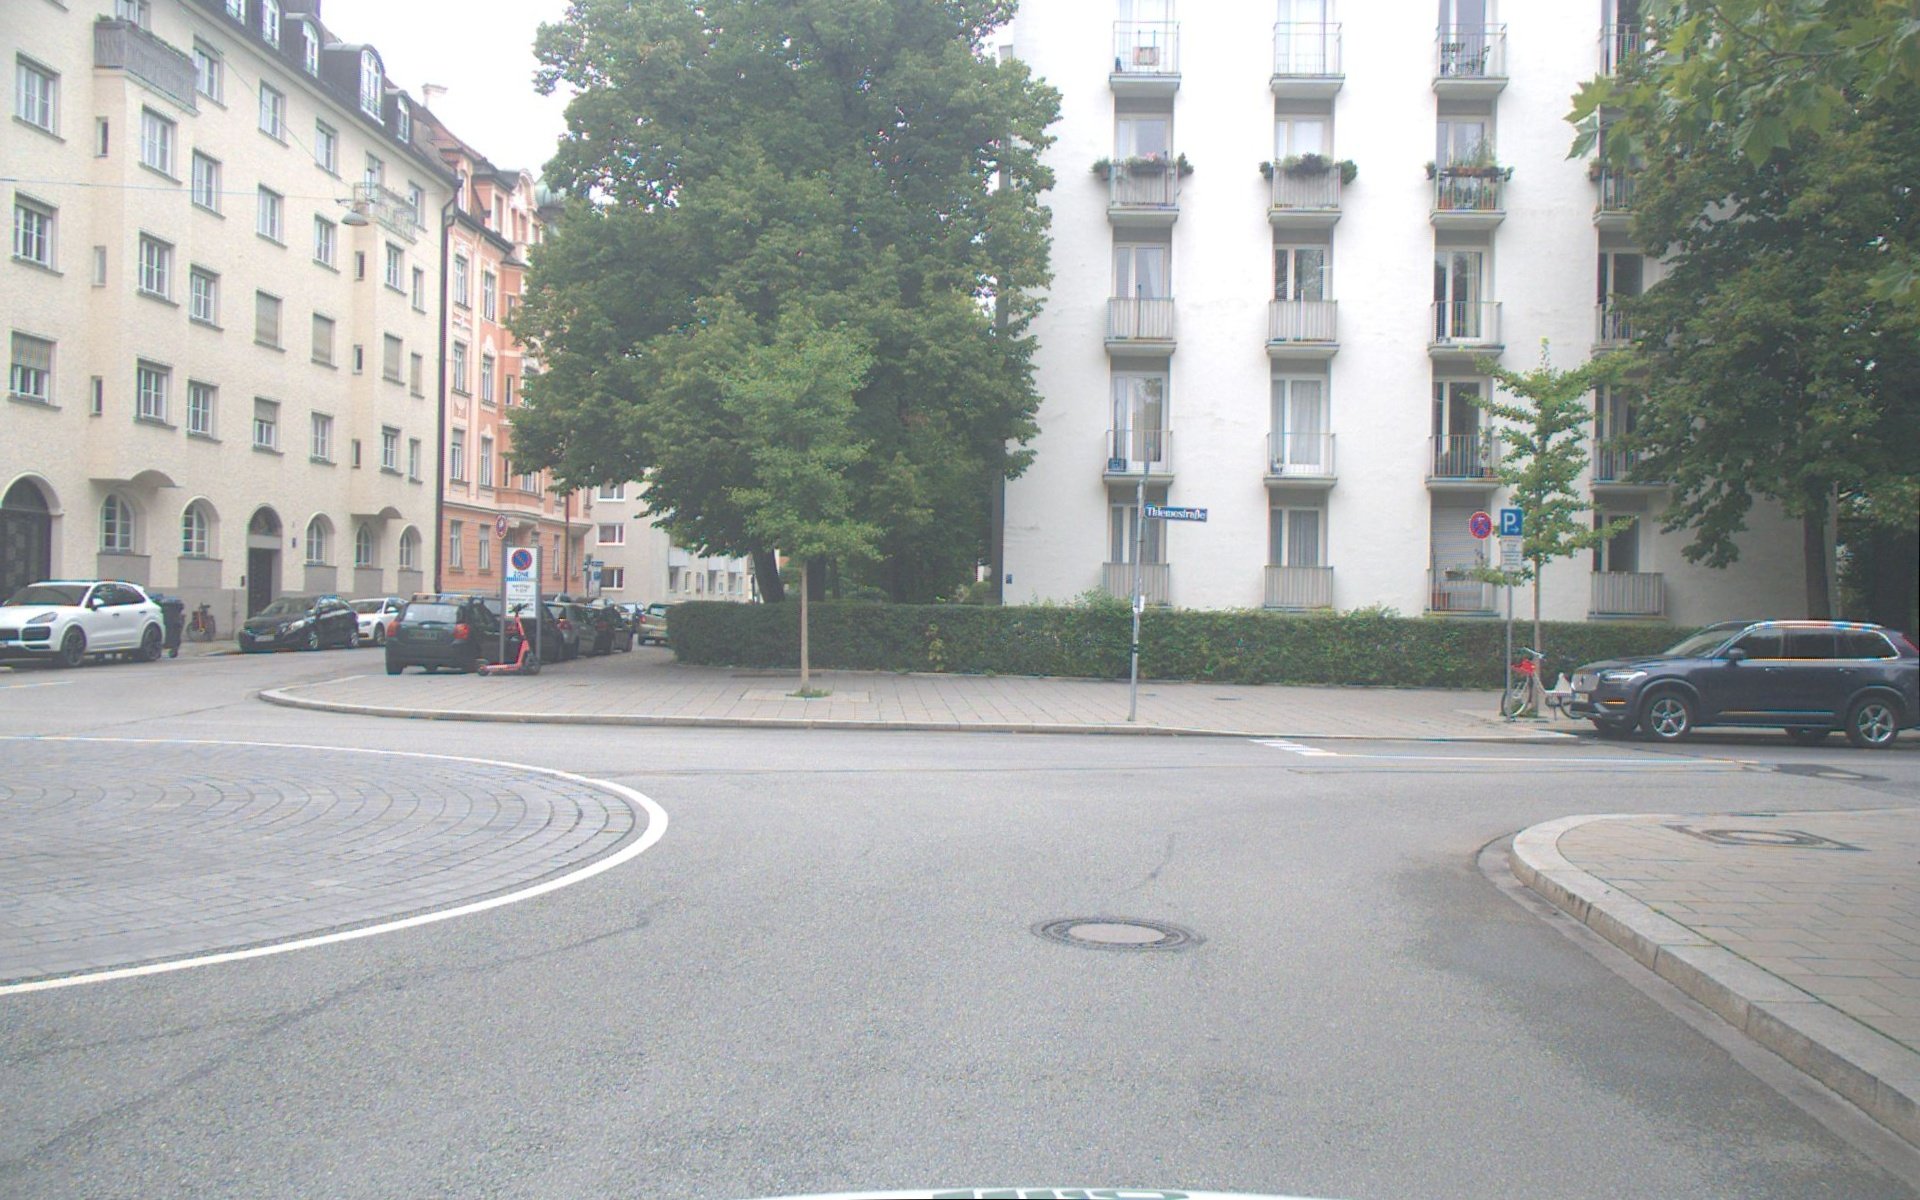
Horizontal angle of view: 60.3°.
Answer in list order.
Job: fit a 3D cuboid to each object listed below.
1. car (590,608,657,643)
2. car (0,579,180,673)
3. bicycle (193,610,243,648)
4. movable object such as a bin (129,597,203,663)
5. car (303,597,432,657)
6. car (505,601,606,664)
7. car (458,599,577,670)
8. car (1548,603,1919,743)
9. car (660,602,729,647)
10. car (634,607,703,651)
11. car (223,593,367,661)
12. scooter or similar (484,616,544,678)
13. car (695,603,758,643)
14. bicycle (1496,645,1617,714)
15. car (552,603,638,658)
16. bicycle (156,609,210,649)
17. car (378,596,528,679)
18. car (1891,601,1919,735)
[{"bbox_3d":[-16.030,1.199,78.992,1.934,1.608,4.410,2,0,4],"label":"car"},{"bbox_3d":[-17.900,0.486,33.304,1.934,1.730,4.841,2,0,2],"label":"car"},{"bbox_3d":[-21.537,0.824,48.022,0.551,1.067,1.831,1,0,2],"label":"bicycle"},{"bbox_3d":[-18.161,0.683,37.855,1.068,1.450,1.174,1,-1,4],"label":"movable object such as a bin"},{"bbox_3d":[-17.366,0.773,48.748,1.934,1.608,4.410,2,0,4],"label":"car"},{"bbox_3d":[-10.359,0.808,42.619,1.757,1.531,4.113,0,0,-2],"label":"car"},{"bbox_3d":[-10.099,0.756,38.034,1.757,1.531,4.232,0,0,-2],"label":"car"},{"bbox_3d":[11.239,1.040,23.844,4.798,1.823,1.999,1,-2,-2],"label":"car"},{"bbox_3d":[-10.241,0.931,64.135,1.796,1.663,4.117,0,0,3],"label":"car"},{"bbox_3d":[-10.439,1.029,59.523,1.798,1.531,4.114,0,0,-1],"label":"car"},{"bbox_3d":[-17.534,0.687,43.865,1.935,1.644,4.712,2,0,-1],"label":"car"},{"bbox_3d":[-8.079,0.854,29.951,0.986,1.107,0.387,2,-1,-25],"label":"scooter or similar"},{"bbox_3d":[-9.812,0.963,69.790,1.796,1.663,3.822,0,0,5],"label":"car"},{"bbox_3d":[9.501,1.265,26.342,1.790,1.067,0.491,1,-1,-9],"label":"bicycle"},{"bbox_3d":[-10.625,0.878,48.406,1.757,1.531,4.113,0,0,-2],"label":"car"},{"bbox_3d":[-21.600,0.792,46.003,0.551,1.067,1.831,1,0,2],"label":"bicycle"},{"bbox_3d":[-9.946,0.698,32.774,1.782,1.531,4.420,0,0,-2],"label":"car"},{"bbox_3d":[16.468,1.049,24.191,4.737,1.952,1.834,1,-2,-3],"label":"car"}]
